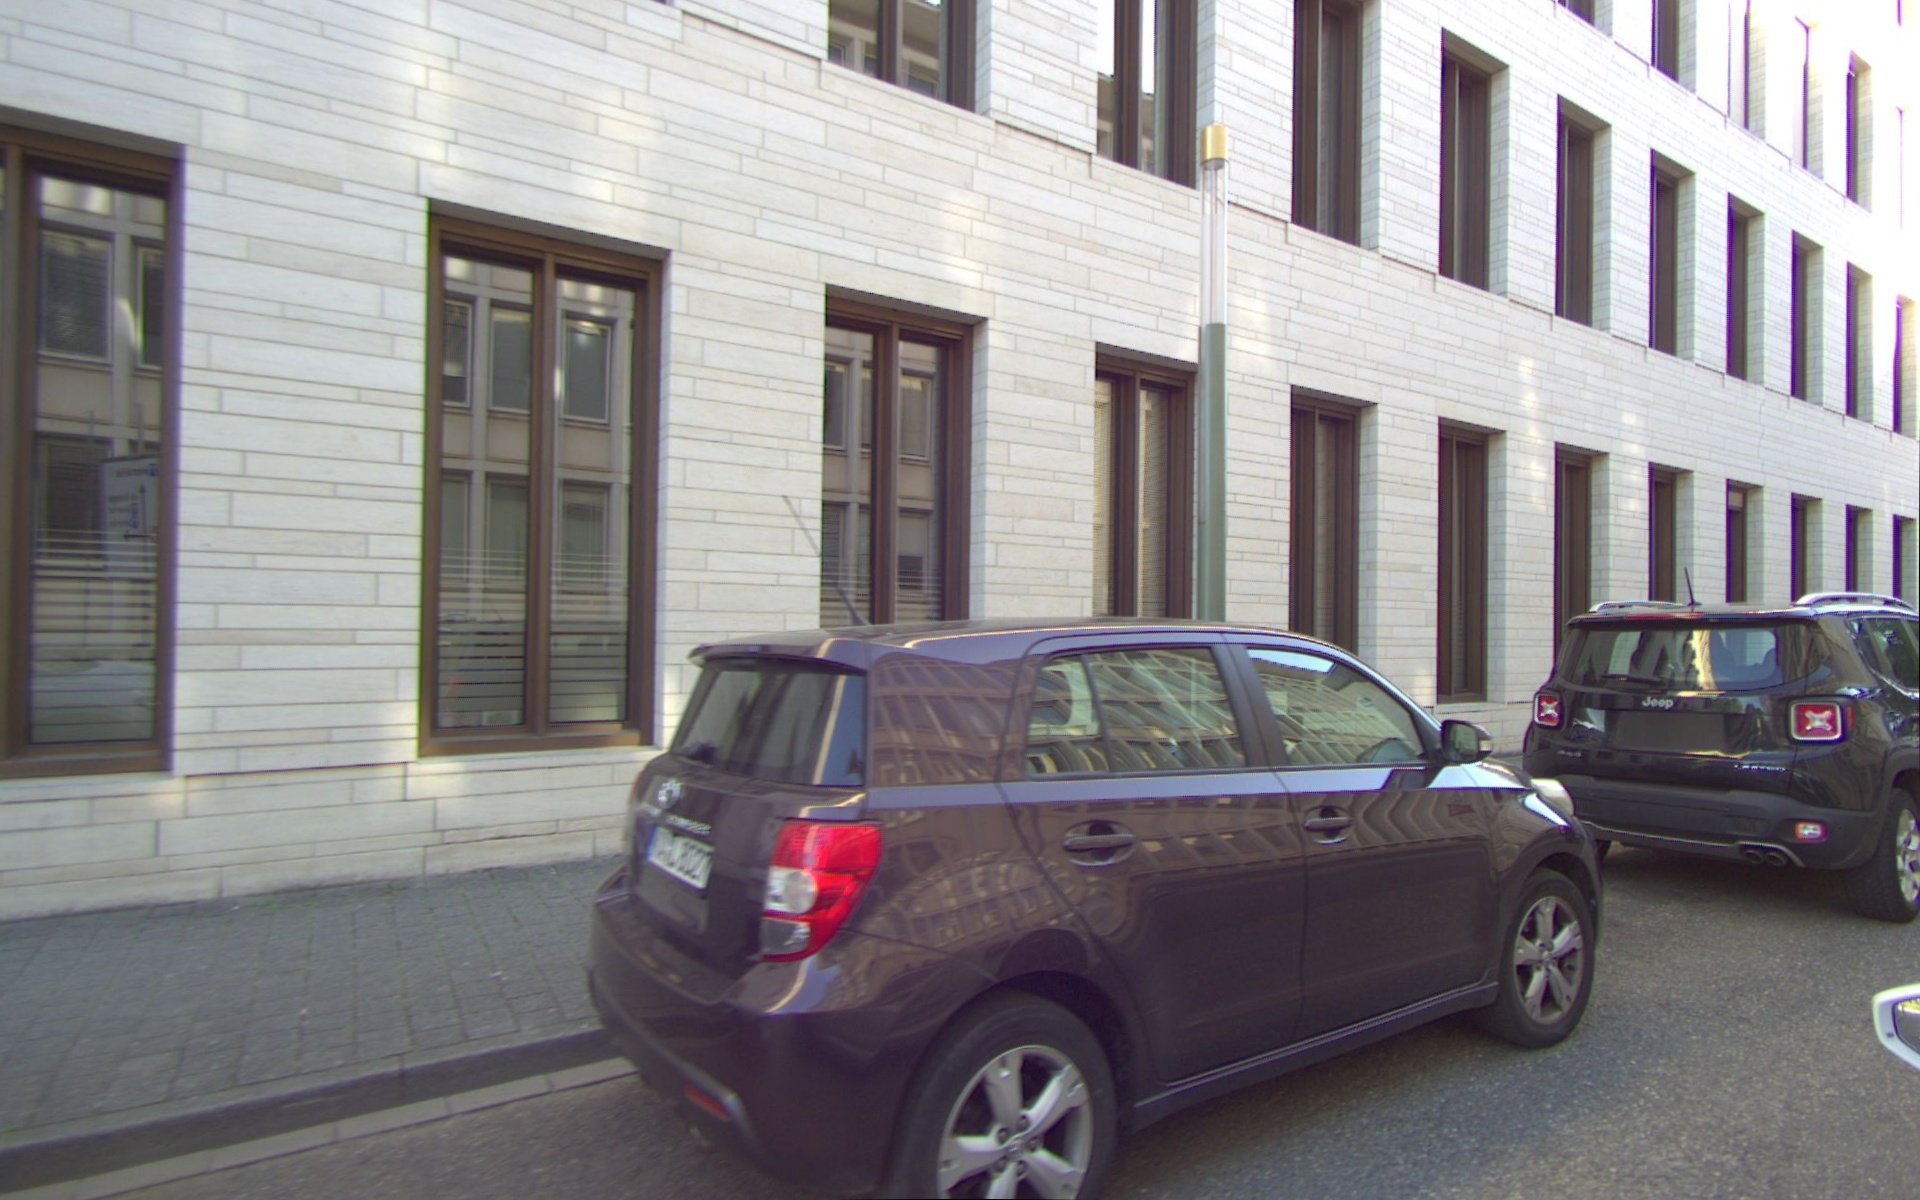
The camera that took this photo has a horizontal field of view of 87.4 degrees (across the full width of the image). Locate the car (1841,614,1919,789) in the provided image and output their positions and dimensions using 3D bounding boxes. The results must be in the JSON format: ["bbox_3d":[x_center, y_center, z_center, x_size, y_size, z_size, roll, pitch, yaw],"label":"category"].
[{"bbox_3d":[10.736,0.954,10.130,4.110,1.615,1.730,1,-3,-34],"label":"car"}]

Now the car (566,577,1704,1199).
[{"bbox_3d":[0.903,0.783,3.839,4.218,1.562,1.812,1,-1,-34],"label":"car"}]

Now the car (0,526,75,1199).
[{"bbox_3d":[-3.741,0.597,0.710,4.397,1.562,1.812,1,1,-32],"label":"car"}]

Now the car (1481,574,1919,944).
[{"bbox_3d":[5.417,0.822,6.609,3.975,1.737,1.812,1,-3,-34],"label":"car"}]
